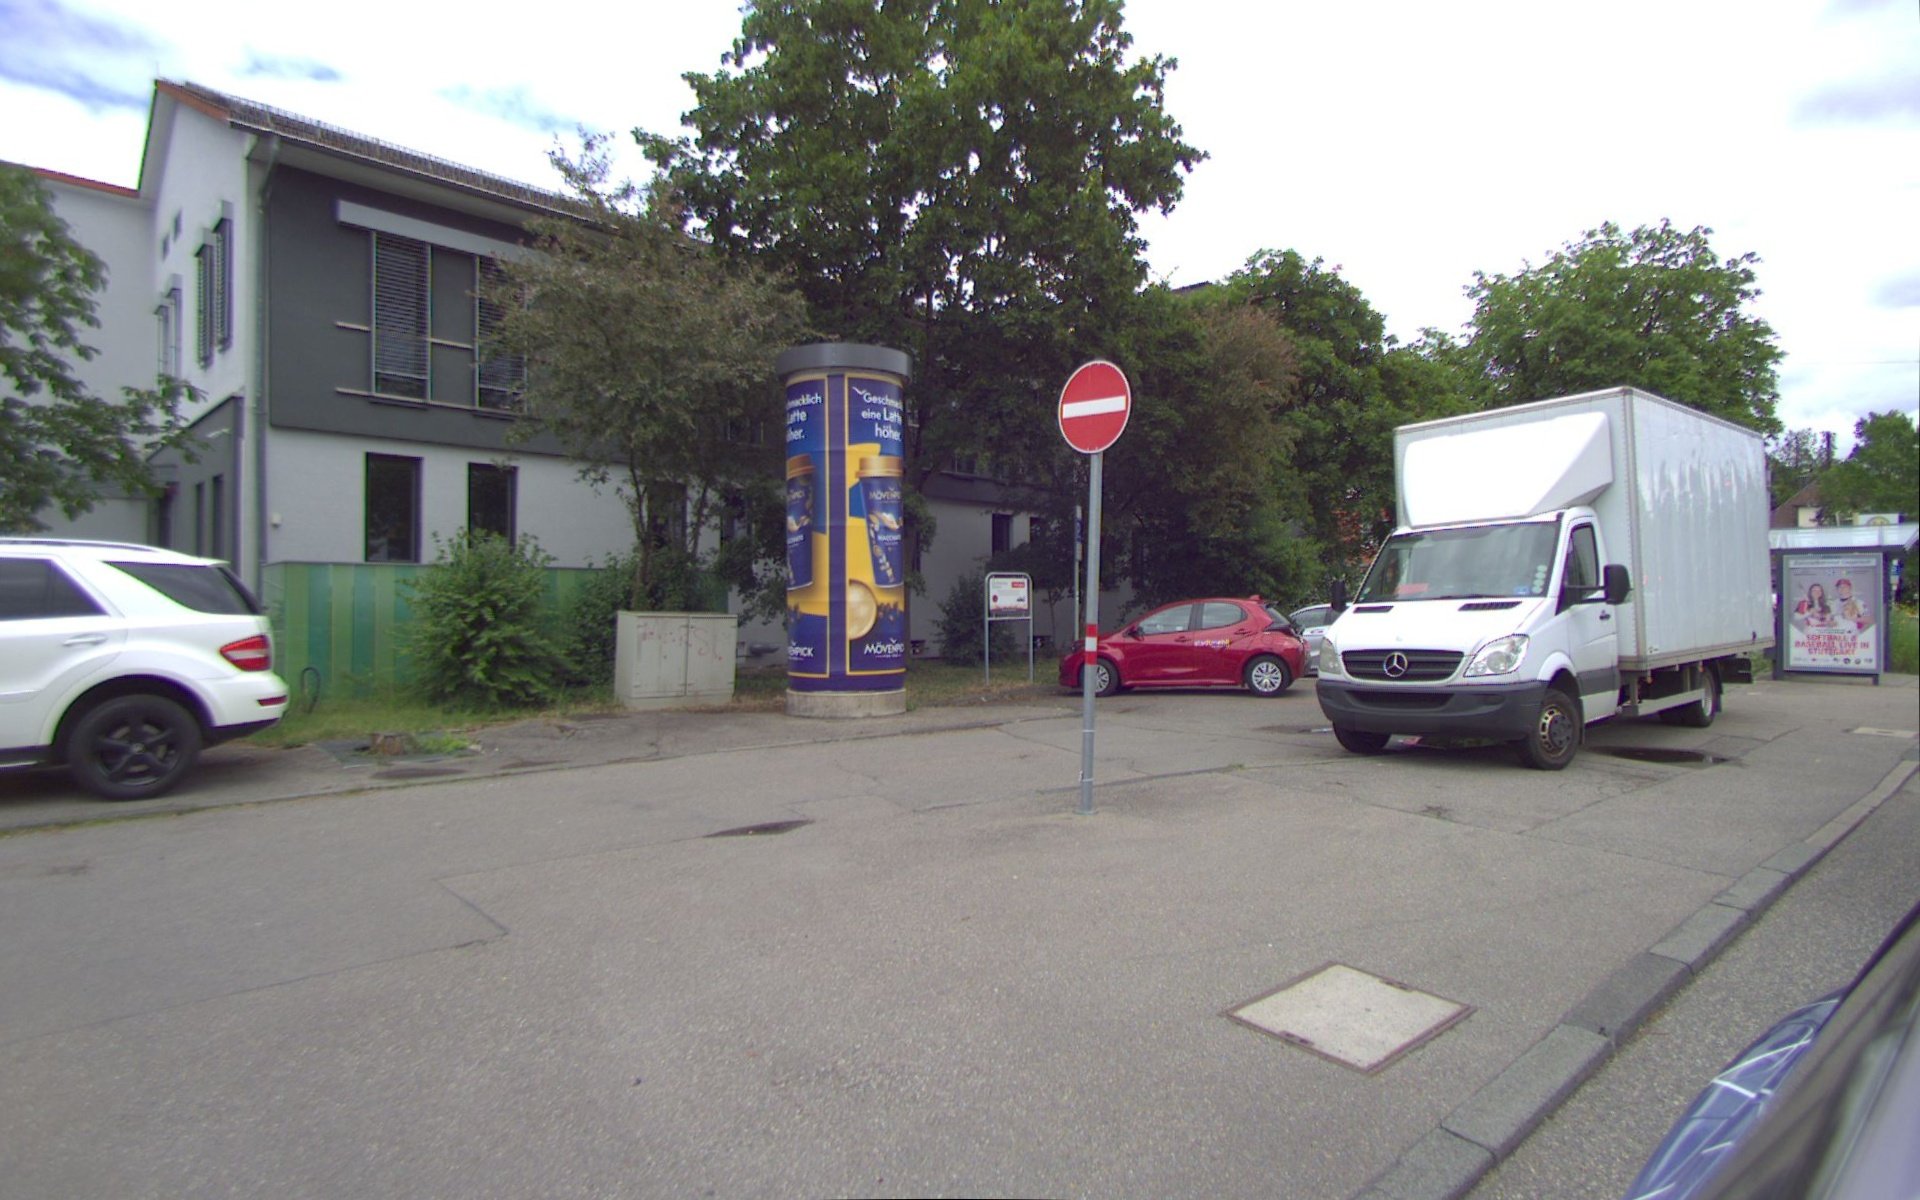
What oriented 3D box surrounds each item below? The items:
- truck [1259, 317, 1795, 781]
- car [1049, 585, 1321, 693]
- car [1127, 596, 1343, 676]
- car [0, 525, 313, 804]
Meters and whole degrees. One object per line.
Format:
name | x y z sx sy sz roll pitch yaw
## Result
truck | 6.556 -0.438 11.007 7.638 3.469 2.540 -1 0 -40
car | 3.491 0.609 15.744 3.856 1.502 1.669 -2 -1 25
car | 5.414 0.709 20.086 3.946 1.428 1.516 -2 -1 18
car | -7.188 0.409 6.747 4.640 1.780 1.855 0 0 -41
